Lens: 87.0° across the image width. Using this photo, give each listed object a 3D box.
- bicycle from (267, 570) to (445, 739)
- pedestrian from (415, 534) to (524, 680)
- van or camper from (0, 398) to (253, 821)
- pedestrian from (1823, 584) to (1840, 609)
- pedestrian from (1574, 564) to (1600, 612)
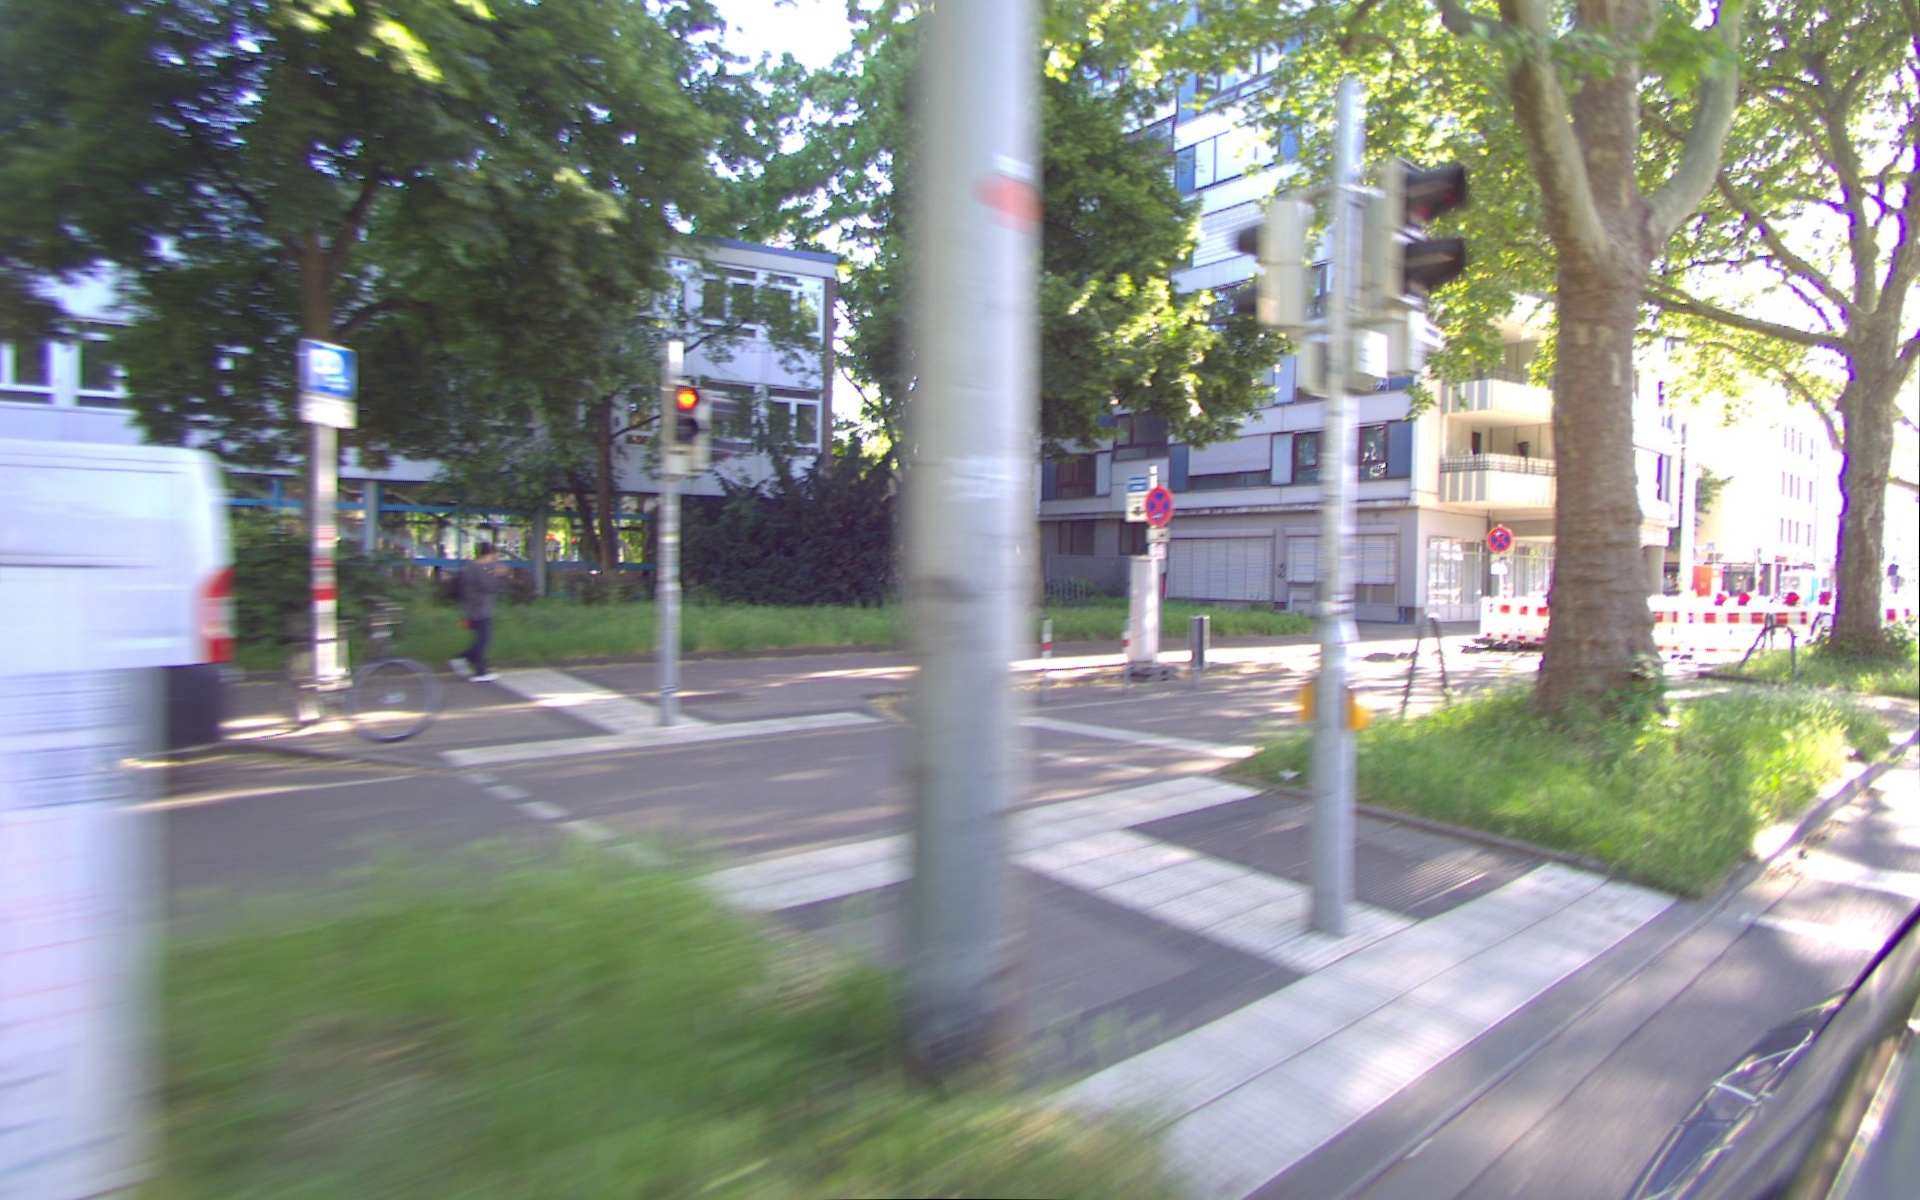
[{"bbox_3d":[-5.143,0.390,8.585,0.947,1.279,1.605,-1,2,-45],"label":"bicycle"},{"bbox_3d":[-5.785,0.063,11.936,1.017,1.636,0.733,0,1,-41],"label":"pedestrian"},{"bbox_3d":[-7.291,0.053,5.279,5.722,2.315,2.295,-1,1,-41],"label":"van or camper"},{"bbox_3d":[52.920,-0.206,61.450,0.640,1.525,0.672,0,1,-40],"label":"pedestrian"},{"bbox_3d":[24.422,-0.484,39.444,0.654,1.838,0.691,0,1,-41],"label":"pedestrian"}]
